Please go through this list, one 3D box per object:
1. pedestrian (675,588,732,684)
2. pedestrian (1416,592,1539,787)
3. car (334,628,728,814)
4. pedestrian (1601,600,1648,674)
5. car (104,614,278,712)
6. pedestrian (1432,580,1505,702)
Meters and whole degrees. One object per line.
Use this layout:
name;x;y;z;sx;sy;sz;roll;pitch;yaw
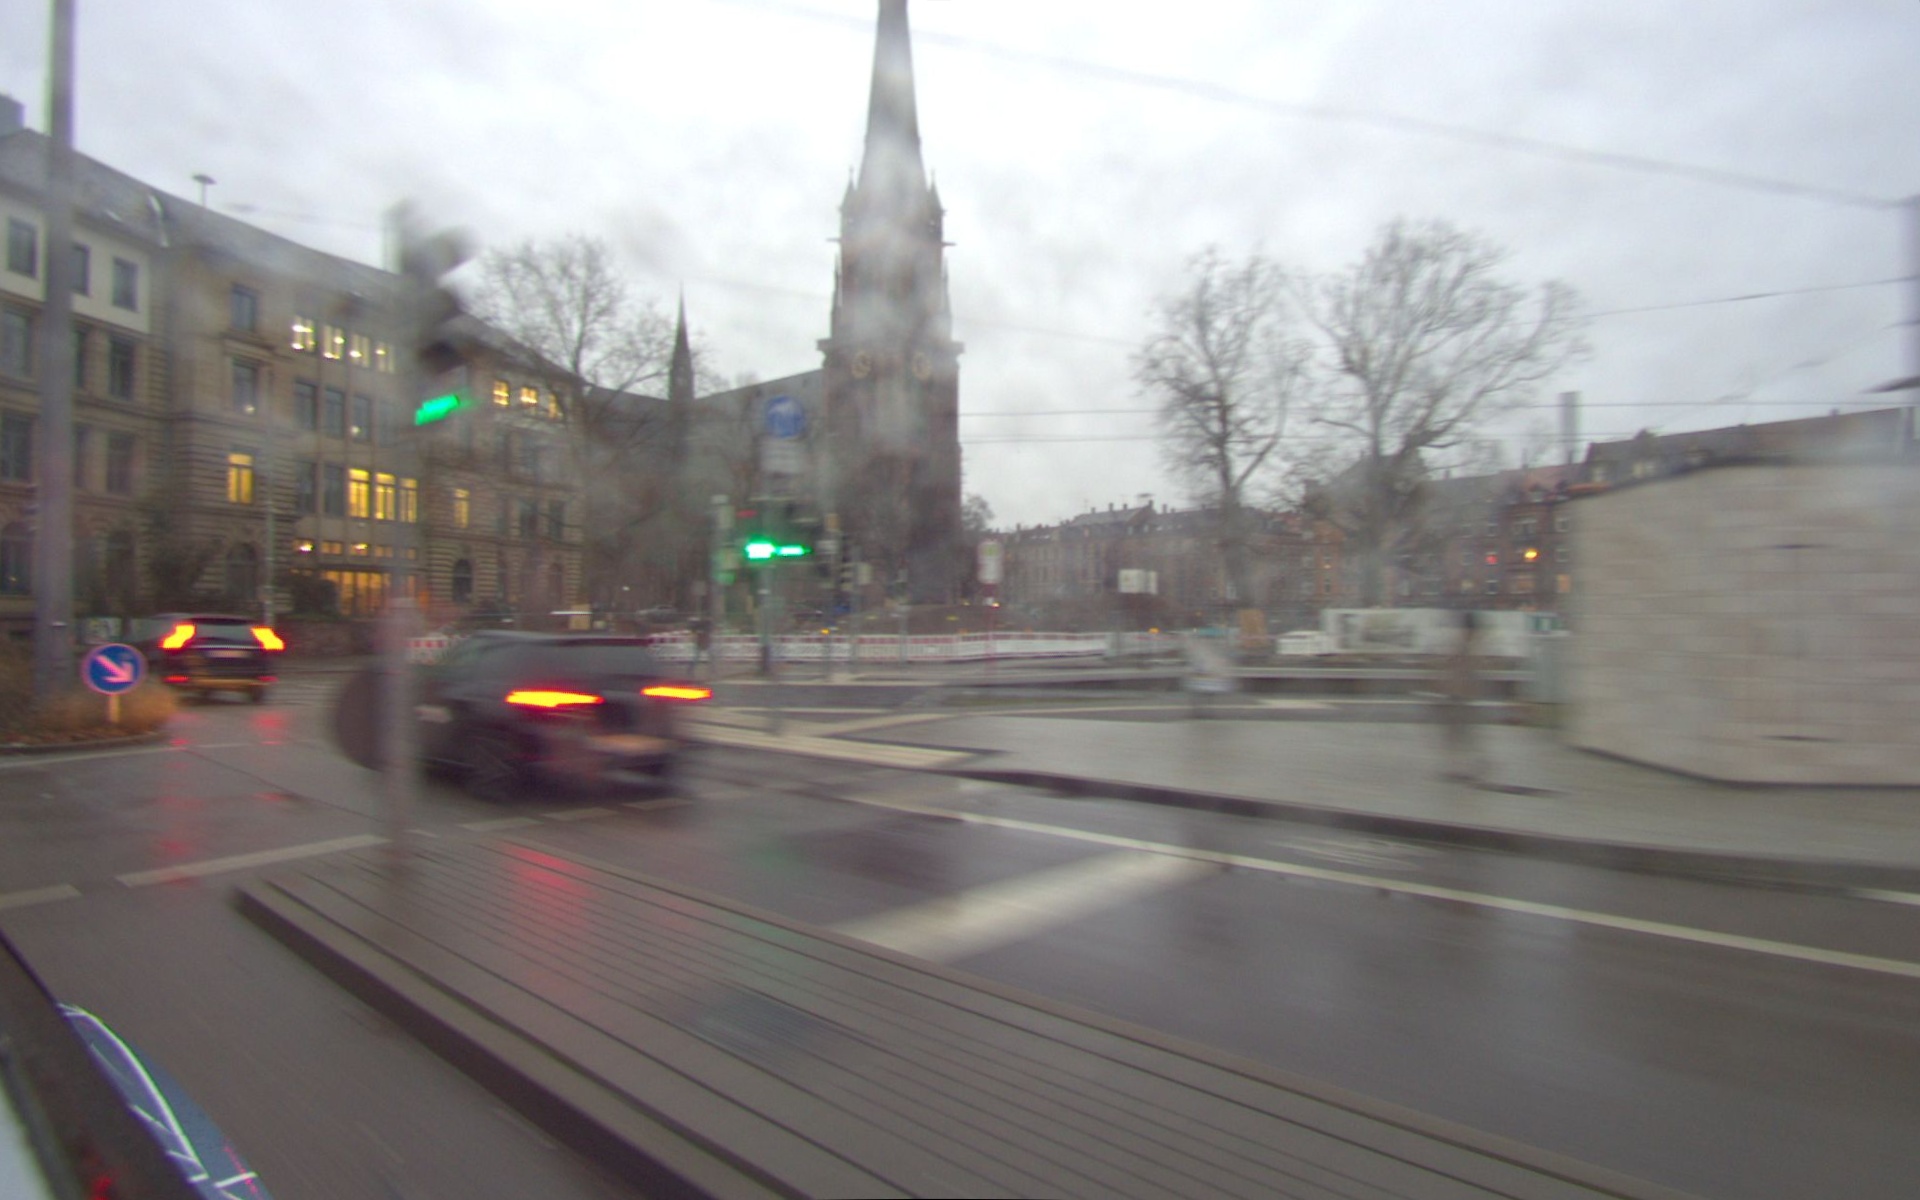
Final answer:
pedestrian;-6.622;0.894;26.138;1.063;2.388;0.984;1;1;37
pedestrian;4.706;0.773;9.235;0.664;1.686;0.732;0;1;-17
car;-4.254;0.994;9.688;4.364;1.389;1.728;-2;-3;41
pedestrian;16.154;0.887;24.628;0.709;1.770;0.713;0;0;7
car;-14.868;1.166;19.481;4.527;1.674;1.736;-2;-3;41
pedestrian;7.811;0.607;15.563;0.815;1.827;0.604;0;1;6
